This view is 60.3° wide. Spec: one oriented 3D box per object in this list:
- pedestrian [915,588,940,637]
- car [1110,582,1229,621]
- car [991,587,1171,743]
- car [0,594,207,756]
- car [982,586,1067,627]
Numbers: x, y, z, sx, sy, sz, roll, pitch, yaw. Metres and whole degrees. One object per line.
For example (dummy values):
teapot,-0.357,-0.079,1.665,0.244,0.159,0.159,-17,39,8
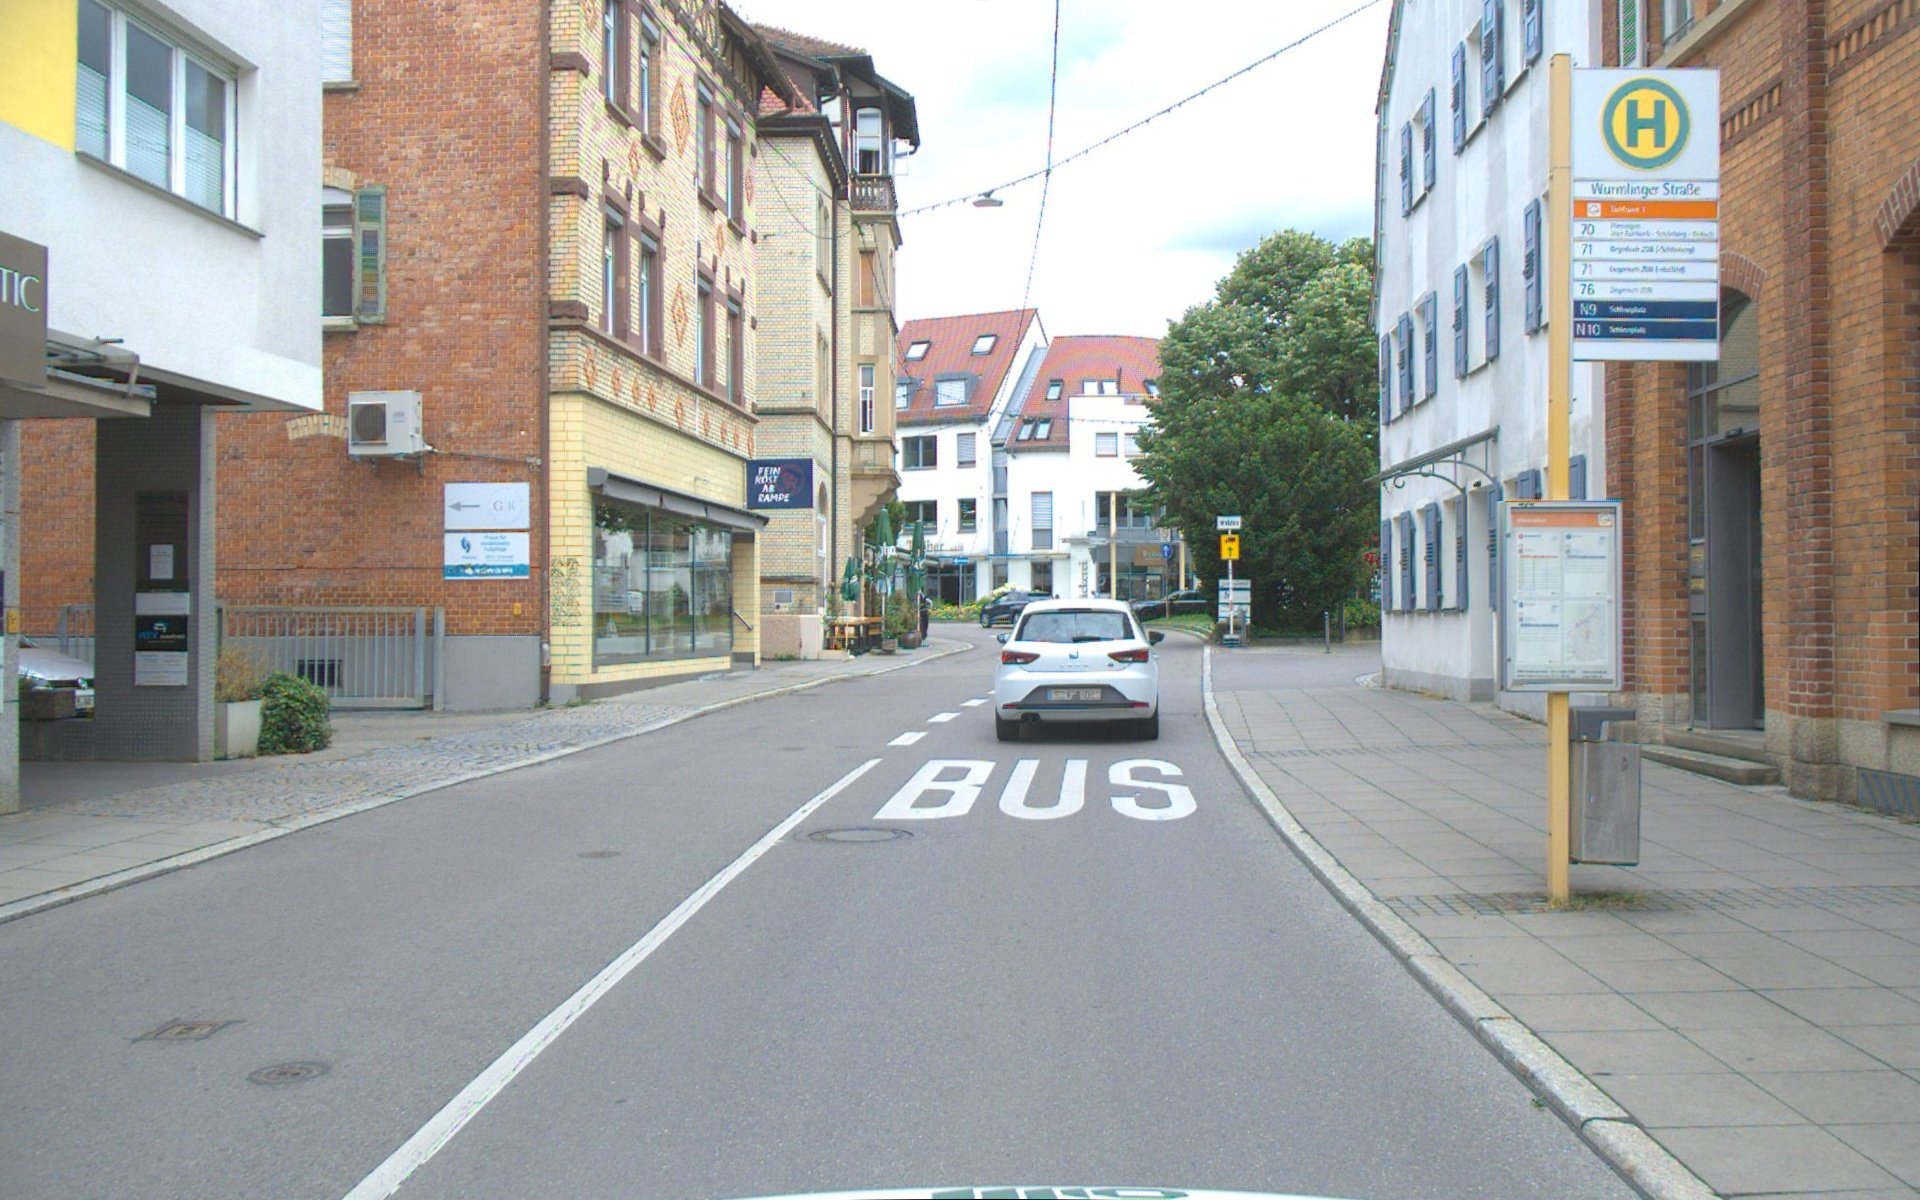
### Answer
pedestrian,-1.052,0.402,53.889,0.817,1.579,0.627,0,0,-1
car,8.690,0.062,68.991,4.799,1.584,2.251,0,0,5
car,1.375,0.633,18.334,1.773,1.506,3.873,0,1,5
car,-10.130,0.717,16.939,3.904,1.557,2.000,0,0,1
car,2.412,0.221,63.058,1.787,1.506,3.843,-1,1,-23
